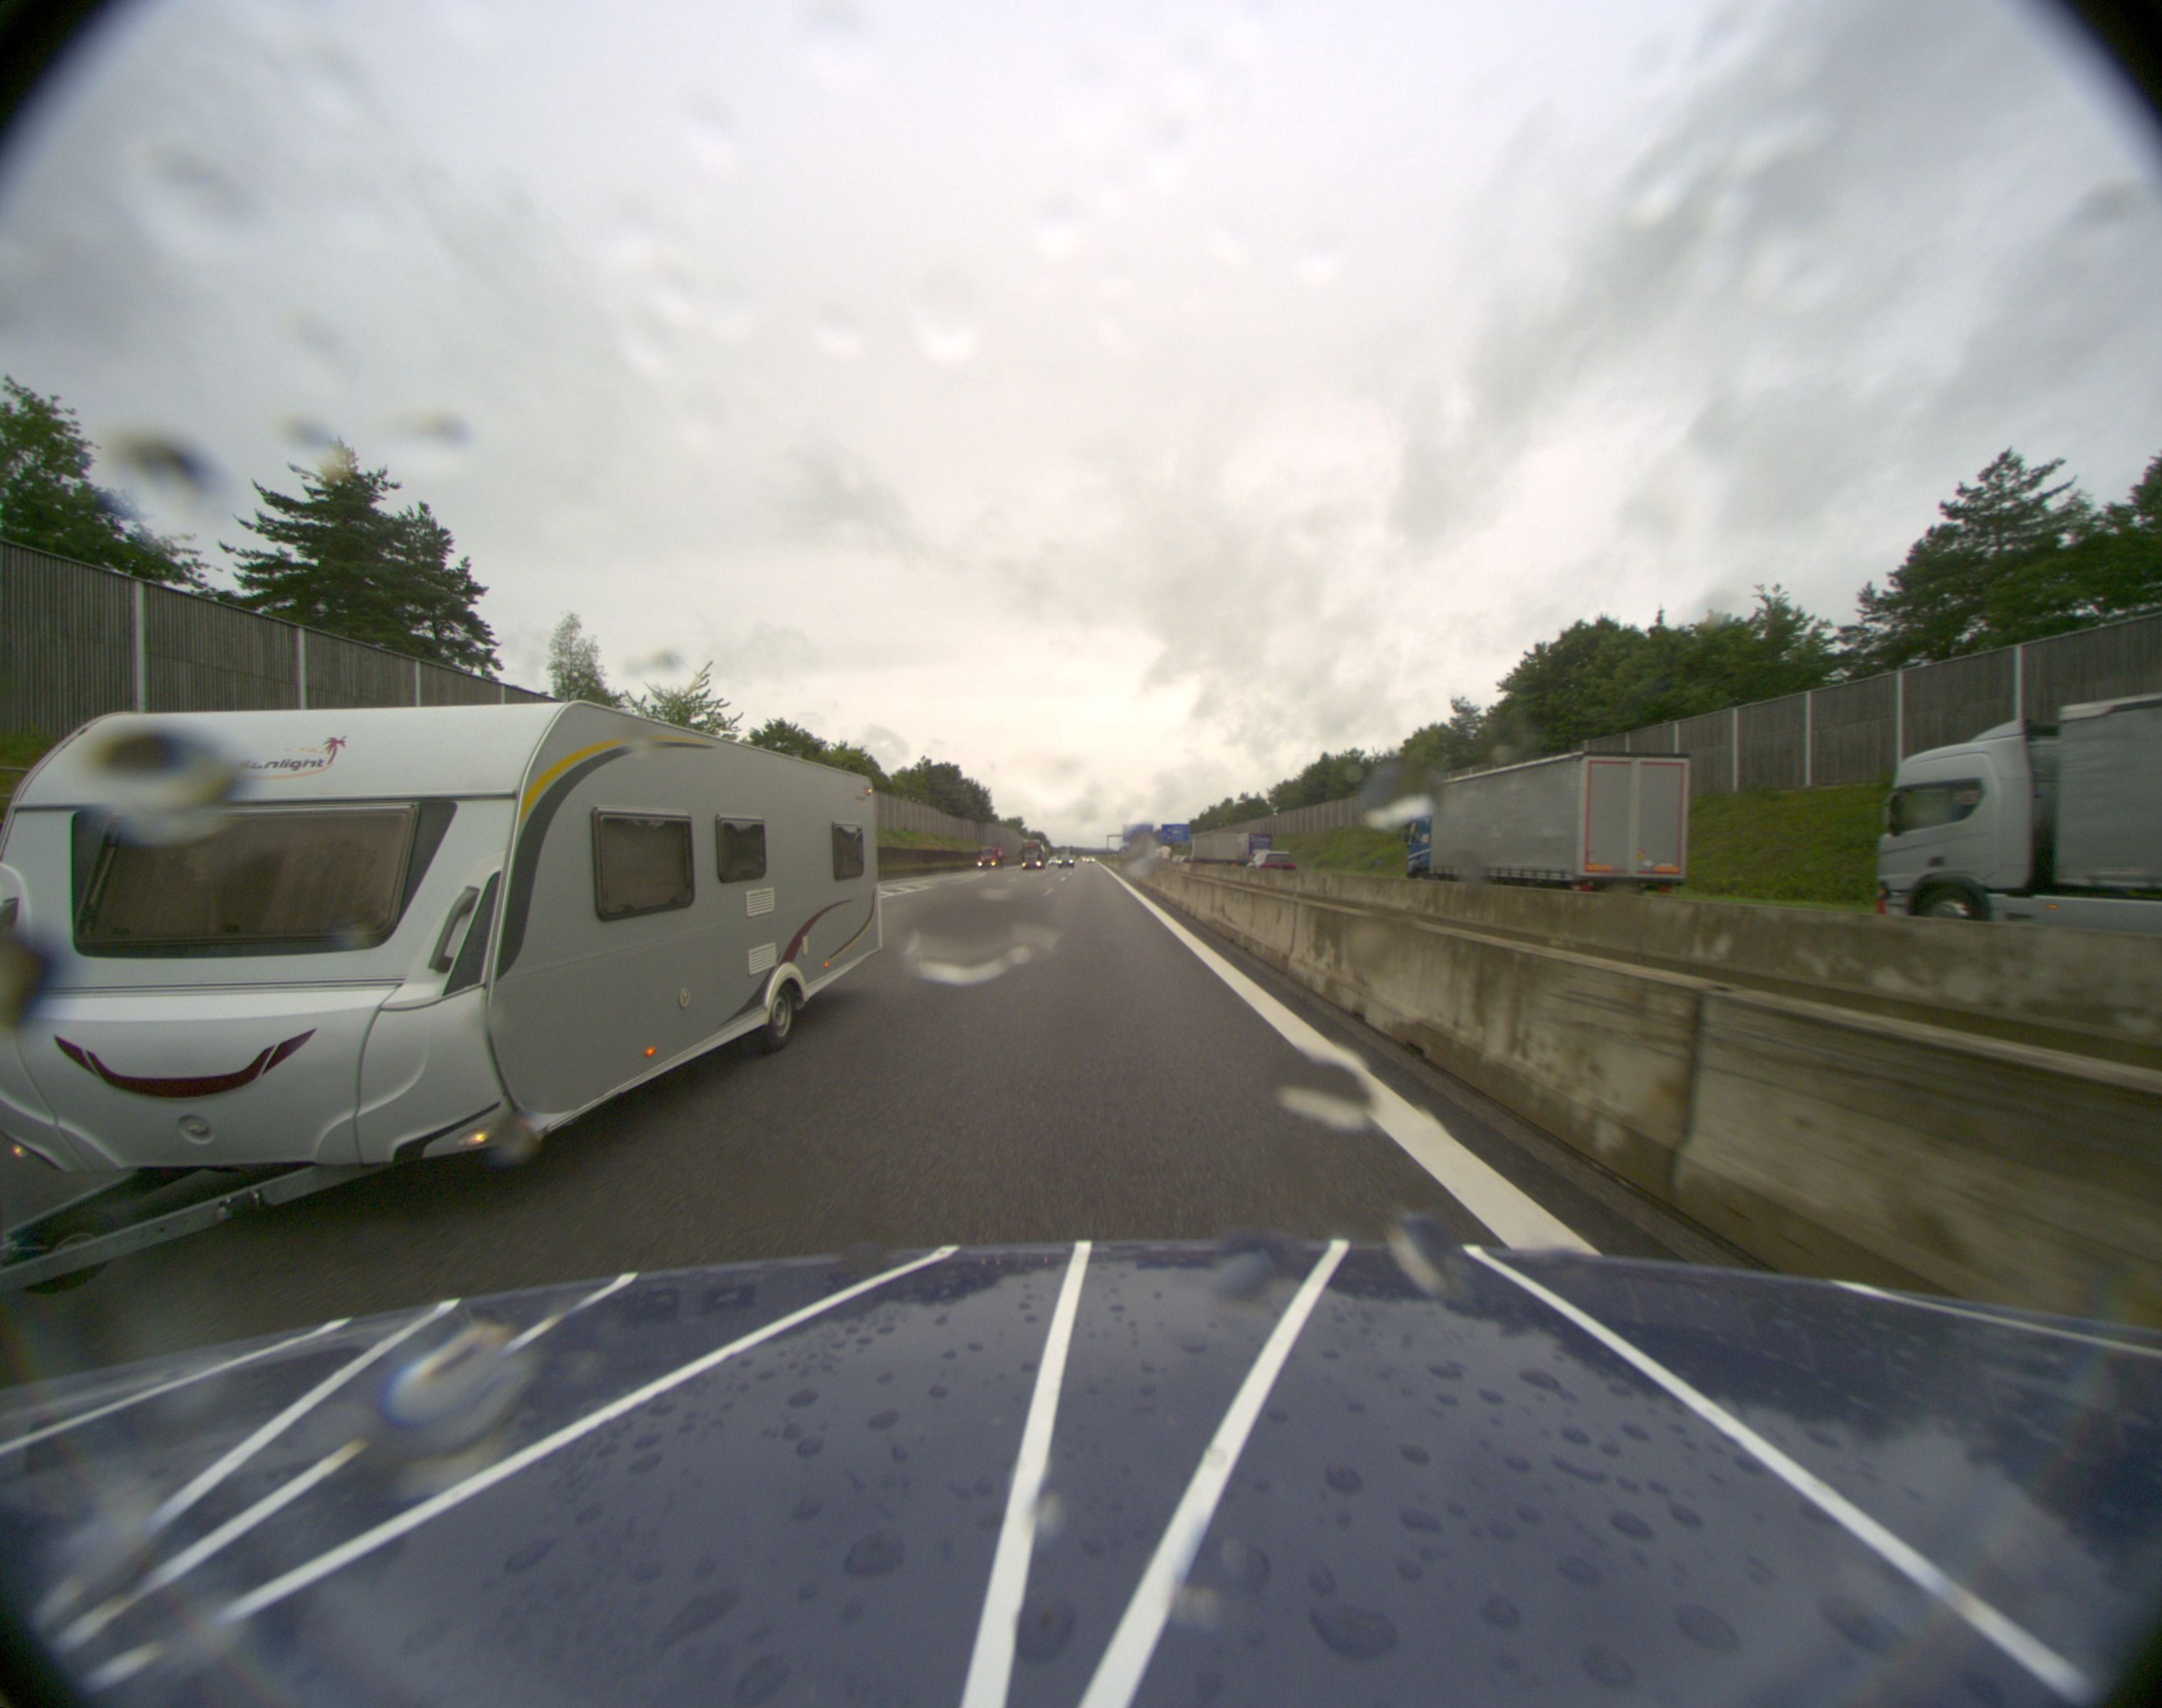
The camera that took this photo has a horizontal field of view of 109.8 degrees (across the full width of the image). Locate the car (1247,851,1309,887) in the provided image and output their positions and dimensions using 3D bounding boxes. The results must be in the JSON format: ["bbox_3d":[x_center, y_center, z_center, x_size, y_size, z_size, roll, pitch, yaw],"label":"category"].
[{"bbox_3d":[10.133,0.709,39.507,1.998,1.726,5.001,-1,0,1],"label":"car"}]

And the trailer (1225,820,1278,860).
[{"bbox_3d":[19.720,-1.552,88.880,3.097,4.300,14.337,-1,1,1],"label":"trailer"}]

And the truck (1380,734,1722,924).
[{"bbox_3d":[13.469,-0.655,24.079,3.159,4.300,12.679,-2,1,1],"label":"truck"}]

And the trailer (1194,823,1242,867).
[{"bbox_3d":[14.898,-1.020,83.852,2.786,4.300,14.022,-2,1,1],"label":"trailer"}]

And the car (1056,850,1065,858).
[{"bbox_3d":[-4.594,0.069,170.881,1.998,1.747,4.000,-1,1,1],"label":"car"}]

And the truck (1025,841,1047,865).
[{"bbox_3d":[-6.031,-0.149,102.603,2.617,3.218,4.632,-1,0,1],"label":"truck"}]

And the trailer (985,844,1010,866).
[{"bbox_3d":[-12.861,0.123,117.544,2.452,3.228,9.402,-1,0,2],"label":"trailer"}]

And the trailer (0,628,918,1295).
[{"bbox_3d":[-3.703,0.435,6.788,2.728,2.627,7.511,-1,0,1],"label":"trailer"}]

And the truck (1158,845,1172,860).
[{"bbox_3d":[21.059,-0.343,190.689,2.707,3.537,5.857,2,1,1],"label":"truck"}]

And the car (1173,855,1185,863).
[{"bbox_3d":[20.636,0.995,160.728,1.998,1.633,4.960,-1,0,1],"label":"car"}]

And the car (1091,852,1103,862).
[{"bbox_3d":[3.679,0.625,175.100,2.680,2.340,5.807,-1,0,-1],"label":"car"}]

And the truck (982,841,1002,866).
[{"bbox_3d":[-13.065,-0.073,111.721,2.420,3.445,4.000,-1,0,1],"label":"truck"}]

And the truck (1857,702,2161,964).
[{"bbox_3d":[17.045,-0.278,12.278,2.896,3.774,5.889,2,1,1],"label":"truck"}]

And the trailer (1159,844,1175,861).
[{"bbox_3d":[21.000,-0.451,185.000,2.718,3.901,10.644,2,1,1],"label":"trailer"}]

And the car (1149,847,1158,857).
[{"bbox_3d":[22.463,-0.729,235.658,2.369,2.953,6.688,-1,0,1],"label":"car"}]

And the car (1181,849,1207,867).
[{"bbox_3d":[11.201,0.373,75.513,1.977,1.679,4.357,-1,0,1],"label":"car"}]

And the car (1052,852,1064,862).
[{"bbox_3d":[-4.327,0.579,143.346,1.916,1.630,3.999,-3,1,1],"label":"car"}]

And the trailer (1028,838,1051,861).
[{"bbox_3d":[-5.911,-0.636,109.613,2.600,3.228,9.915,-1,0,1],"label":"trailer"}]

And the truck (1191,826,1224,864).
[{"bbox_3d":[14.997,-1.081,90.401,2.786,4.300,6.097,-2,1,1],"label":"truck"}]

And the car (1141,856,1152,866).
[{"bbox_3d":[13.338,1.415,154.910,1.998,2.002,4.768,-1,0,1],"label":"car"}]

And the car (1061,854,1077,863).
[{"bbox_3d":[-1.588,0.635,101.832,2.061,1.020,3.438,-3,1,1],"label":"car"}]
